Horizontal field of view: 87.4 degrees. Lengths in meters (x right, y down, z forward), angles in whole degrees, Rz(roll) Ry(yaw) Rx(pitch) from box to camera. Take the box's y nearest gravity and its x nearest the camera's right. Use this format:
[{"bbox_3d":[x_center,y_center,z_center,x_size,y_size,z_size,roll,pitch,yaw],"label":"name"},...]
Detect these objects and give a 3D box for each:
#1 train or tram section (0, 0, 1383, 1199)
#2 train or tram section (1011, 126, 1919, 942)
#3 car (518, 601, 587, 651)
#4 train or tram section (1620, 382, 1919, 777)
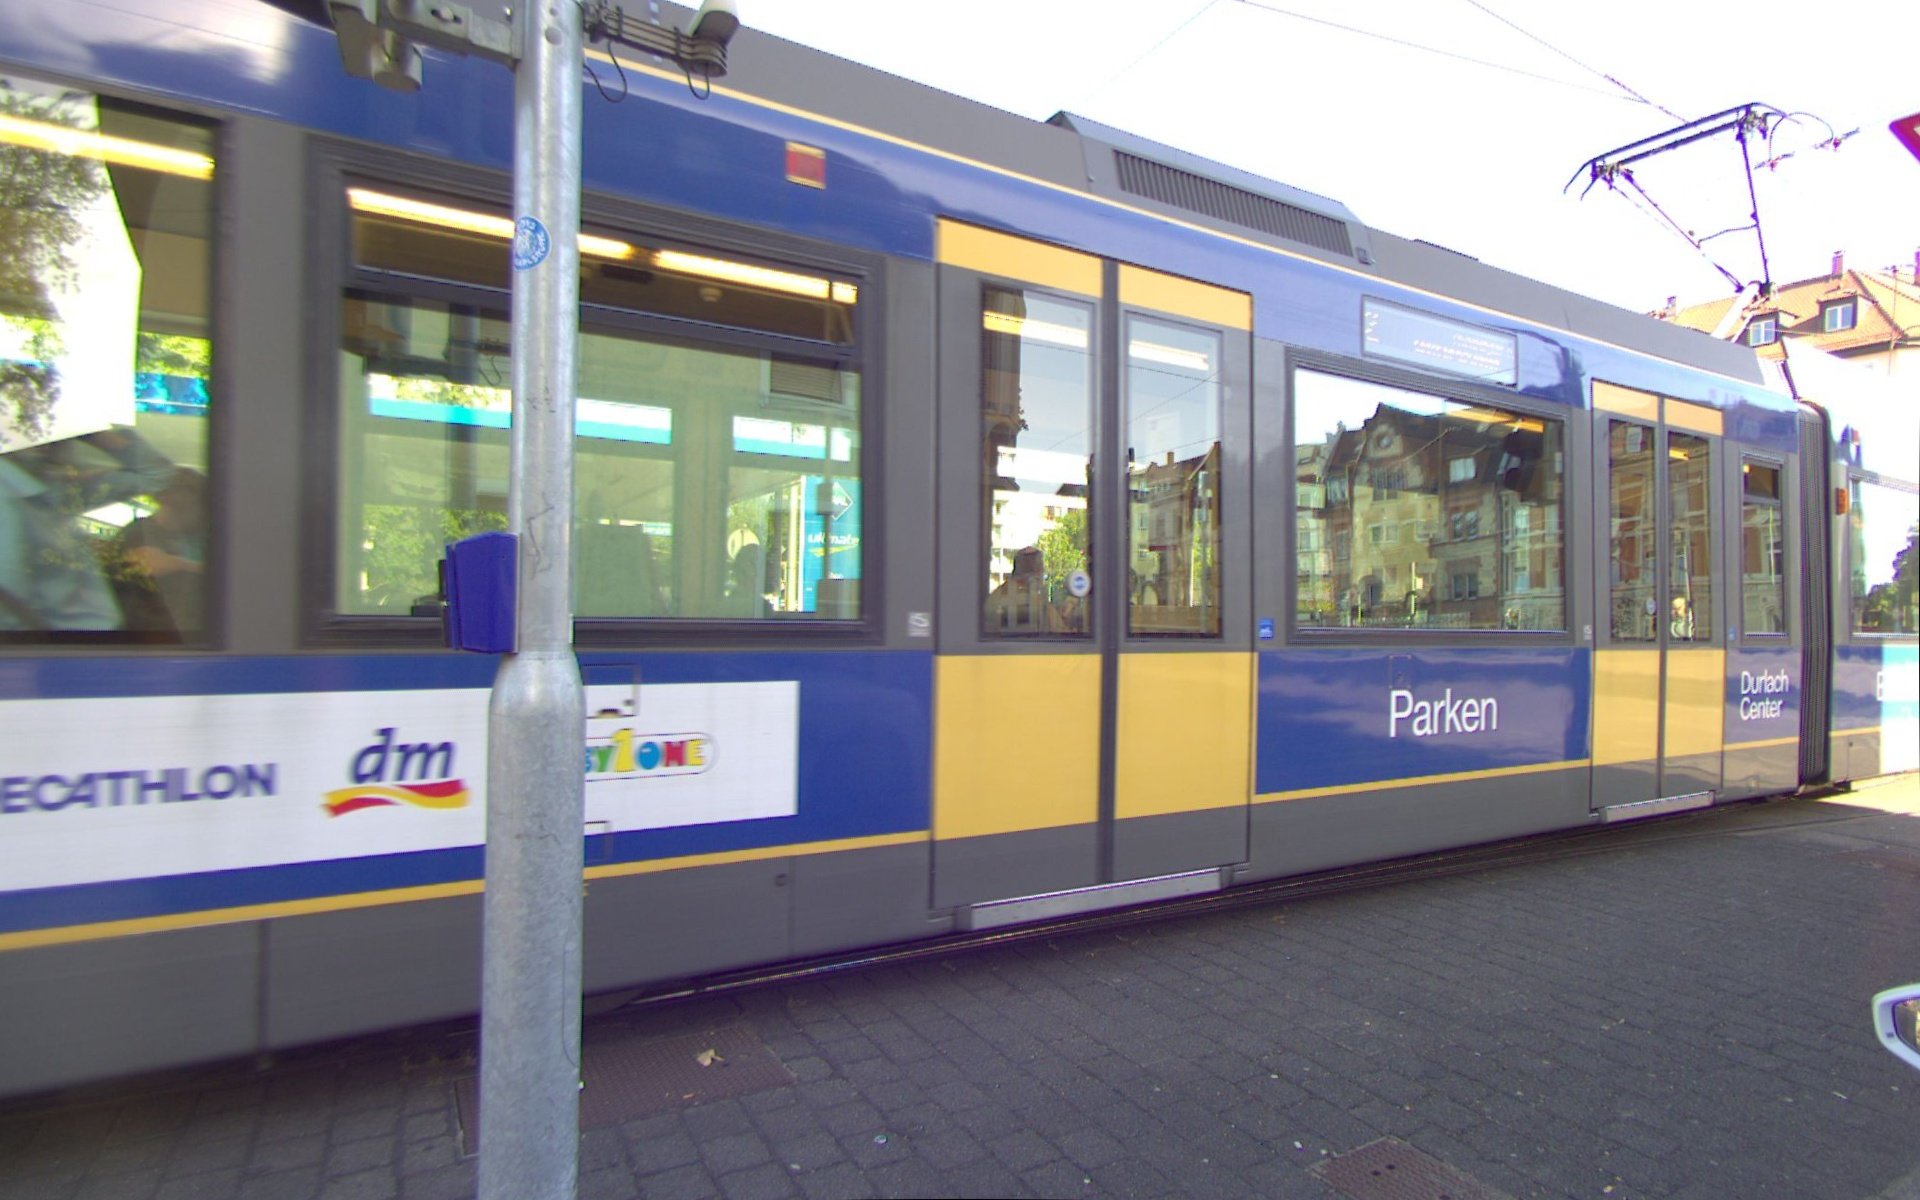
[{"bbox_3d":[-2.235,-0.436,3.623,7.869,3.546,2.801,1,-1,-30],"label":"train or tram section"},{"bbox_3d":[4.652,-0.209,7.706,8.362,3.546,2.801,1,-1,-30],"label":"train or tram section"},{"bbox_3d":[-13.439,0.830,33.029,1.725,1.431,4.061,5,-2,-26],"label":"car"},{"bbox_3d":[12.329,-0.069,13.781,11.944,3.546,2.744,1,-1,-43],"label":"train or tram section"}]
